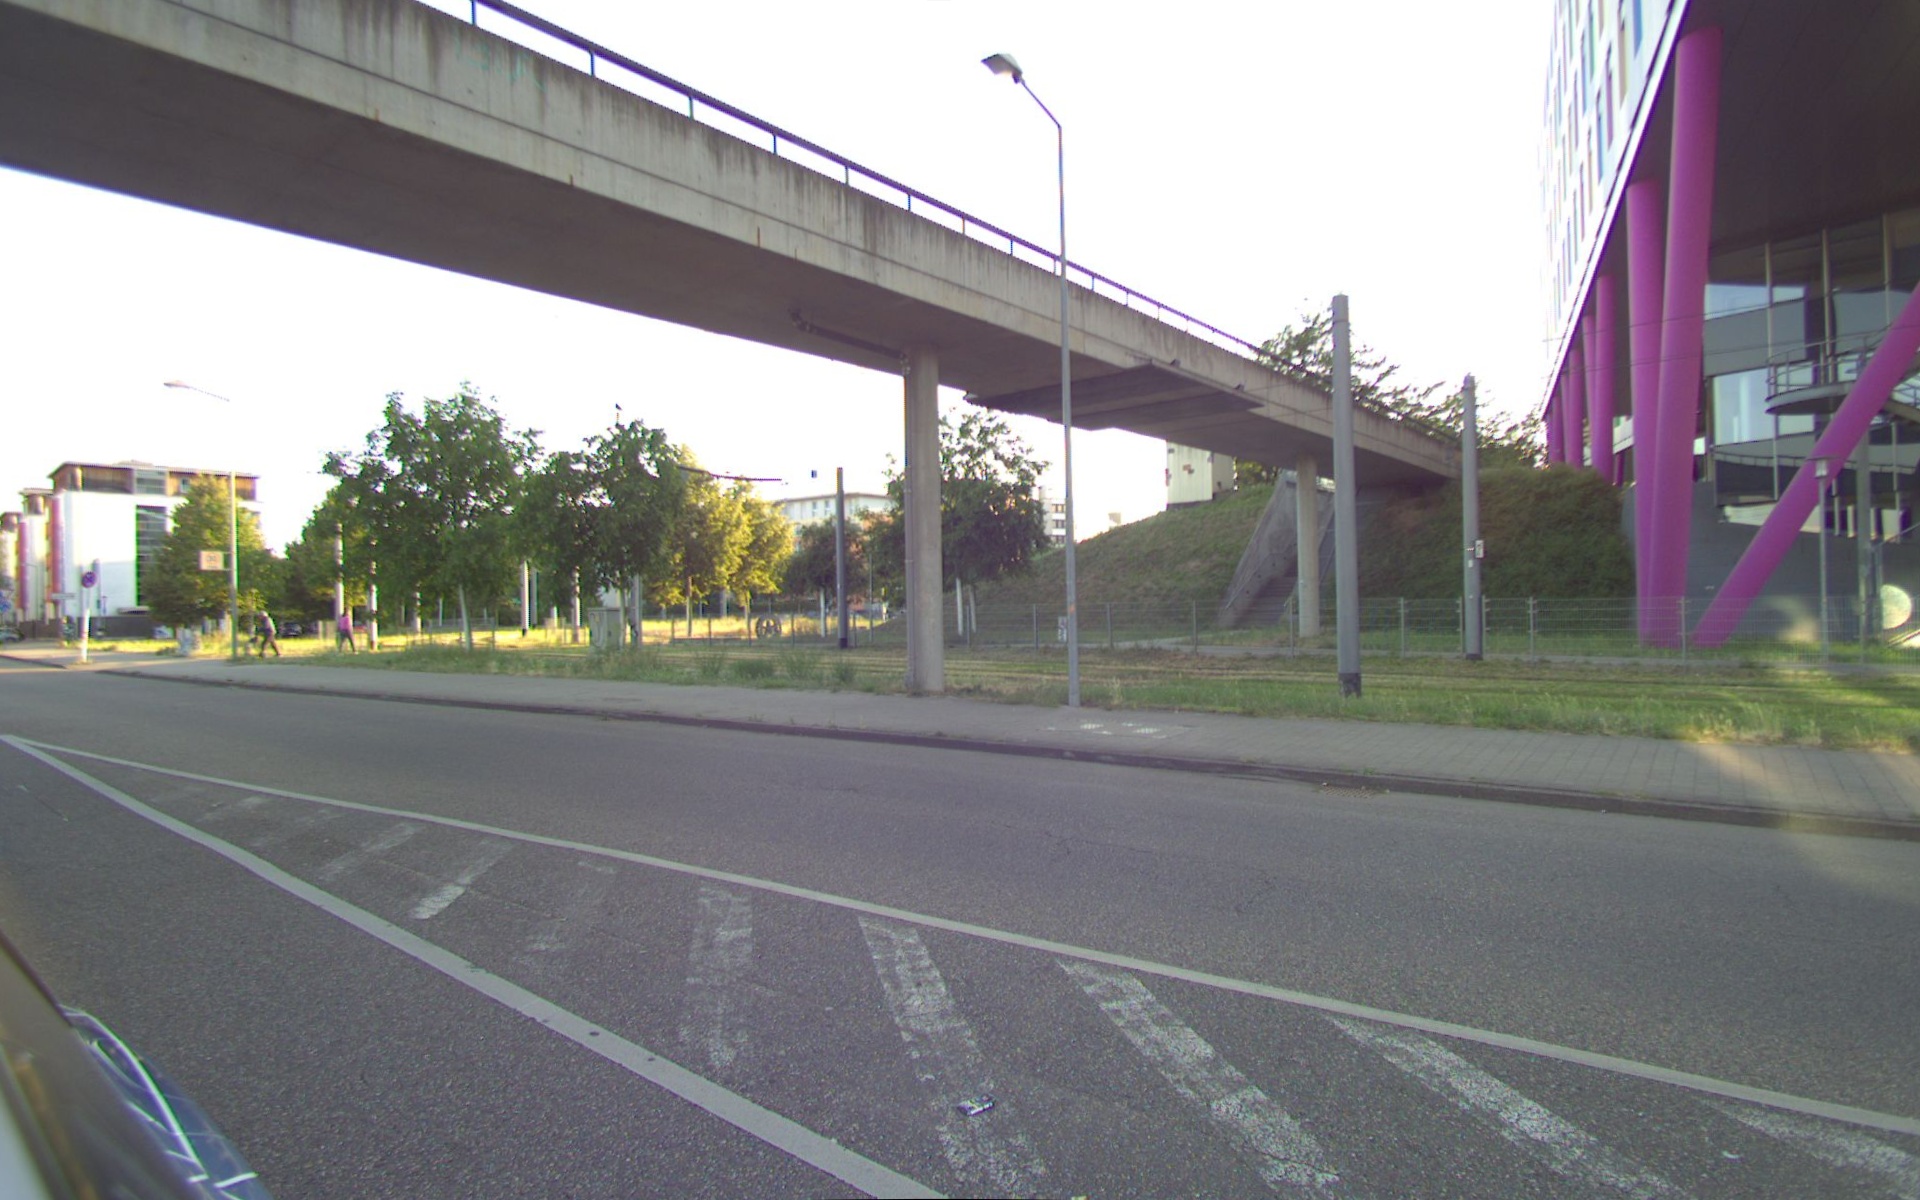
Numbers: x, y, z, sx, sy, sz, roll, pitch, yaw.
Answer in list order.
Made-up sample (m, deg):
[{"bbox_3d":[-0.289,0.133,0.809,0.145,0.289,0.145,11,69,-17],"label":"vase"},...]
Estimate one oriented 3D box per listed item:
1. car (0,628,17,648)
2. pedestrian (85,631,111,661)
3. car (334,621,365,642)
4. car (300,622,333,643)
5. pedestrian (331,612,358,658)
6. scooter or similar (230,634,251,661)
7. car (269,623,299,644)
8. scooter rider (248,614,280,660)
[{"bbox_3d":[-80.766,3.188,83.407,1.839,1.571,4.330,-1,0,42],"label":"car"},{"bbox_3d":[-59.457,3.159,69.814,1.072,2.029,1.143,-1,0,-21],"label":"pedestrian"},{"bbox_3d":[-53.579,2.770,88.780,1.842,1.734,3.853,-1,-1,-38],"label":"car"},{"bbox_3d":[-55.378,2.794,87.055,1.843,1.734,3.851,-1,-1,-40],"label":"car"},{"bbox_3d":[-22.258,1.264,36.589,0.767,1.623,0.417,-1,-1,-38],"label":"pedestrian"},{"bbox_3d":[-24.914,1.640,35.030,0.544,0.902,0.724,1,-1,-40],"label":"scooter or similar"},{"bbox_3d":[-57.125,2.824,85.524,1.842,1.734,3.853,-1,-1,-38],"label":"car"},{"bbox_3d":[-24.378,1.281,35.455,0.884,1.589,0.713,-1,-1,-38],"label":"scooter rider"}]
